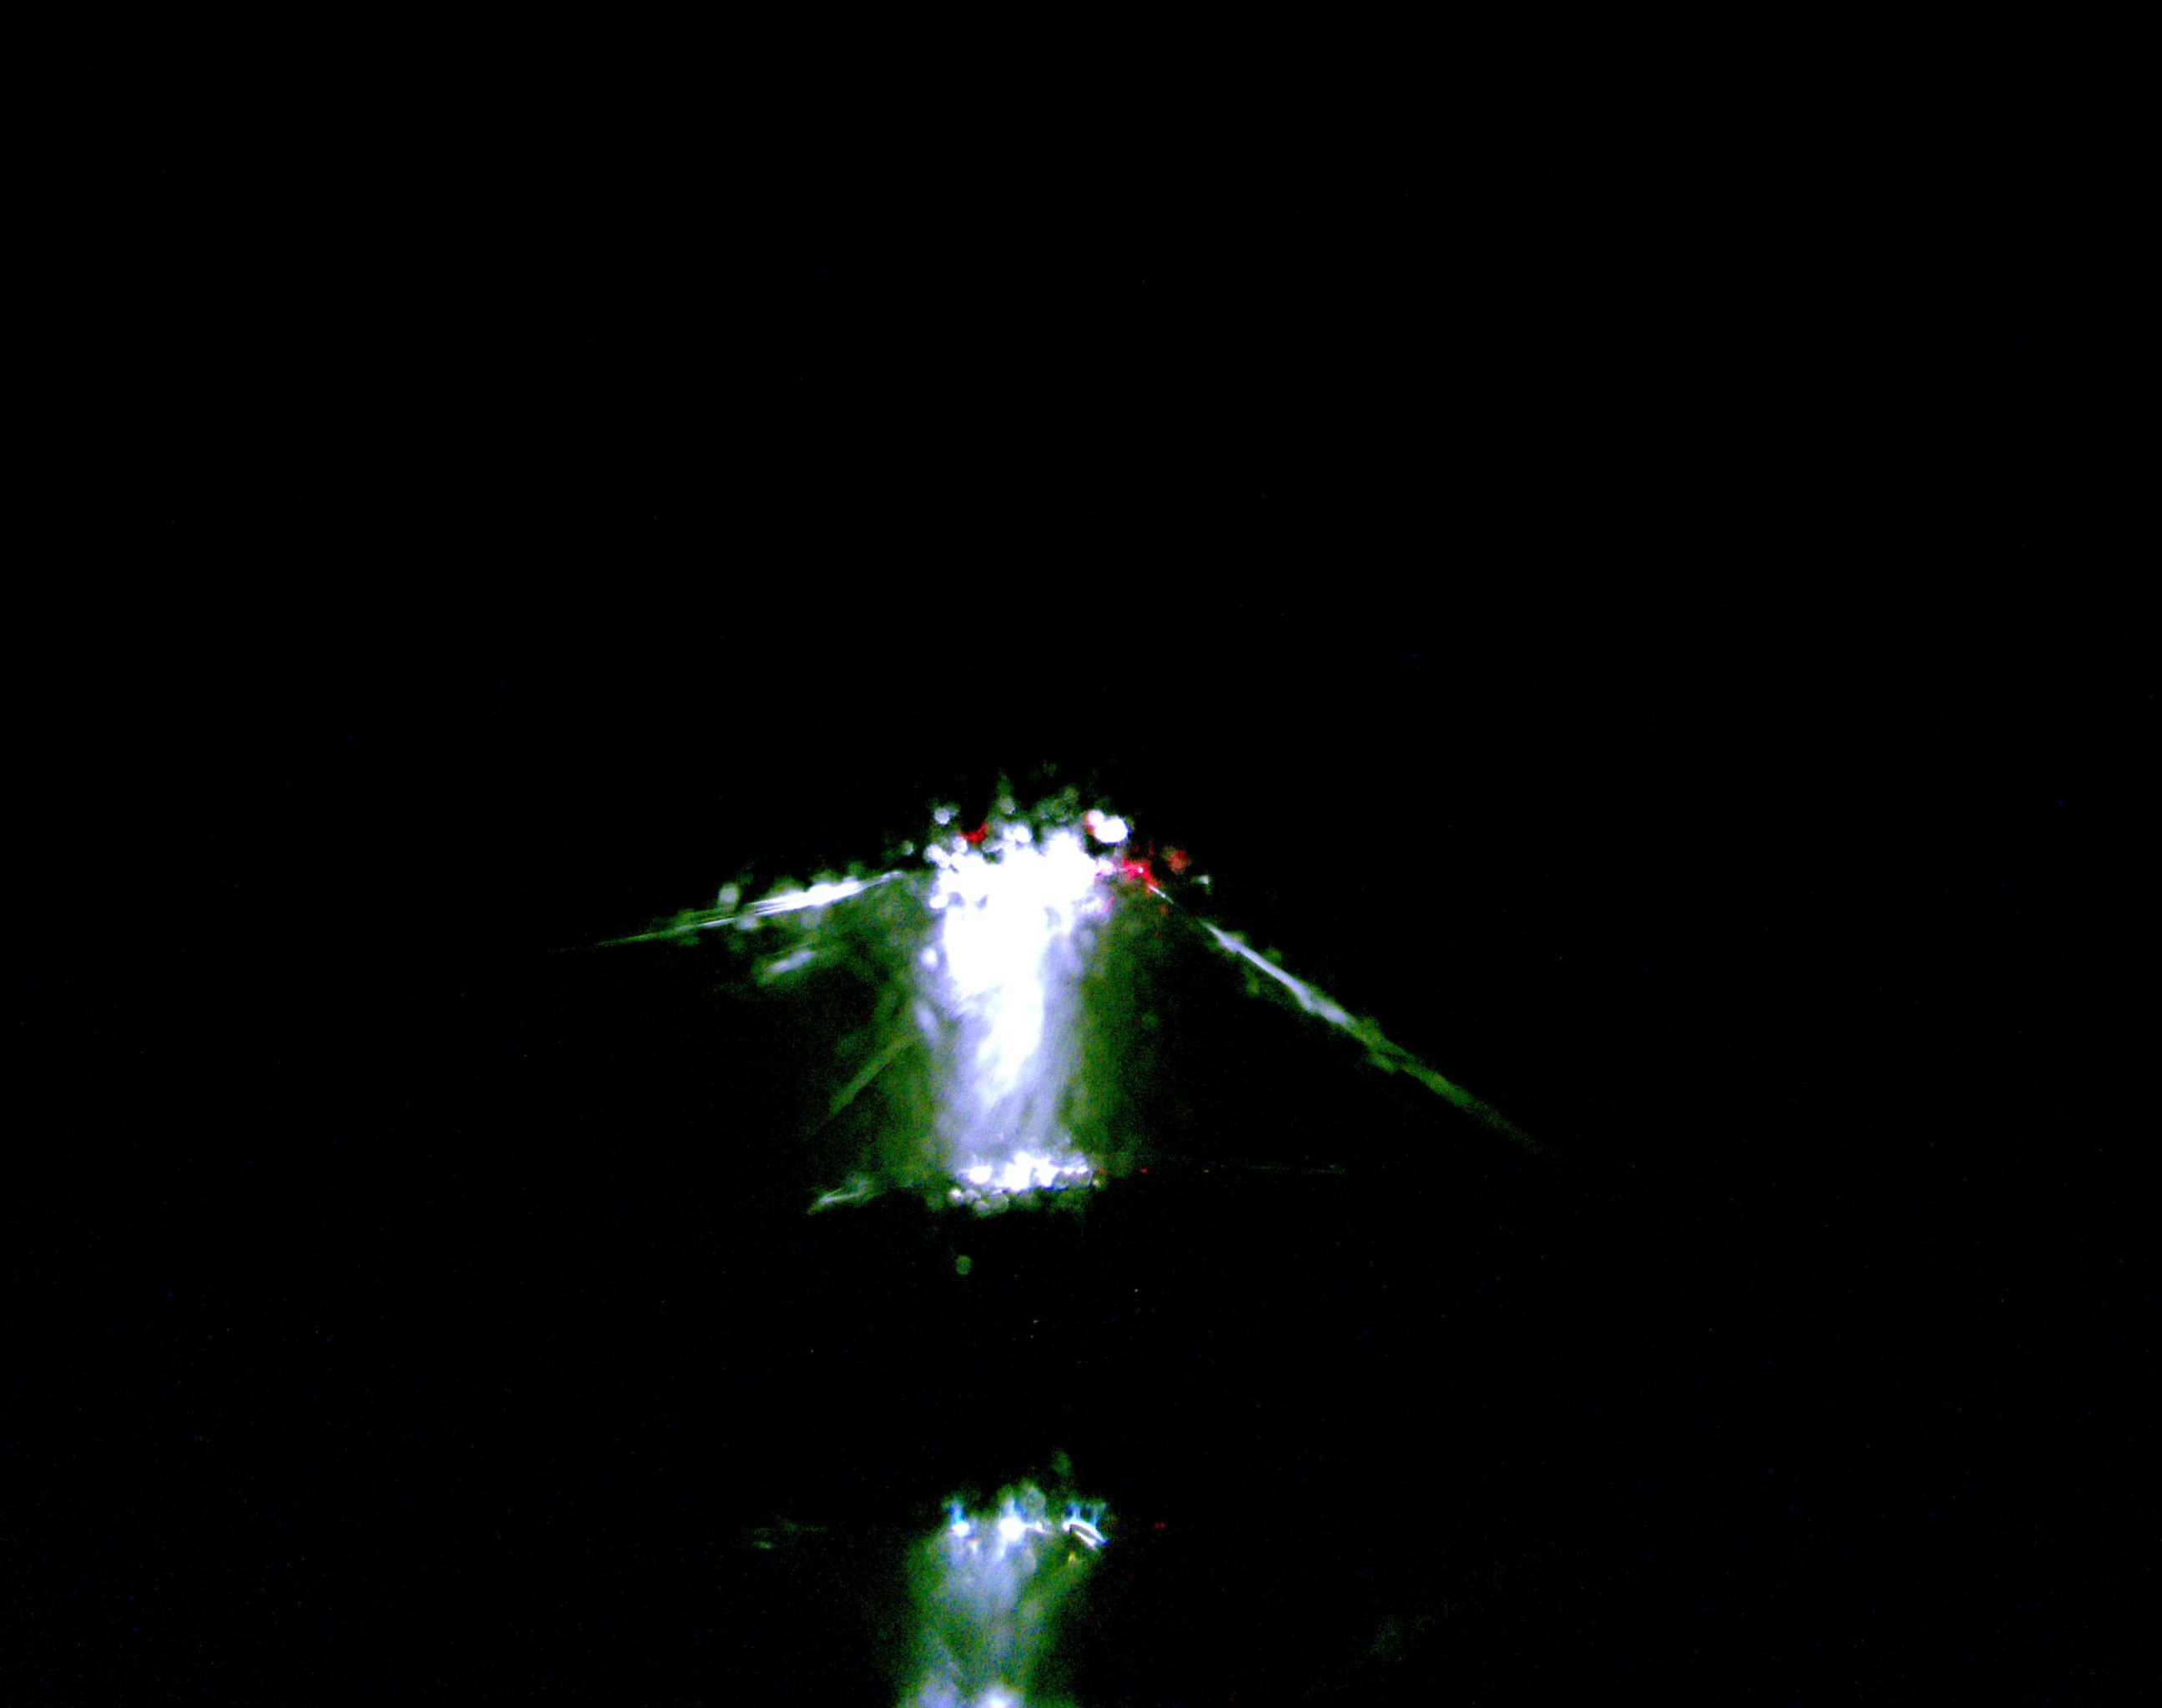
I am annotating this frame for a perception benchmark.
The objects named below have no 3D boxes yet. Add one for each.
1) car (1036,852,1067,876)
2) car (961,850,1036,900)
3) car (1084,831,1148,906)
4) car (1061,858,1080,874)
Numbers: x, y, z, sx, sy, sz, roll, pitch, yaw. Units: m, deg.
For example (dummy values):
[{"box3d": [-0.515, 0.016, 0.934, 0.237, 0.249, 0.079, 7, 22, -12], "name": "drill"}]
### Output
[{"box3d": [-1.874, 0.611, 52.388, 1.779, 1.510, 3.601, 0, 0, 1], "name": "car"}, {"box3d": [-2.730, 0.658, 27.865, 1.967, 1.516, 4.348, -1, 0, 1], "name": "car"}, {"box3d": [1.285, 0.453, 30.401, 2.173, 2.557, 4.510, 1, 2, 1], "name": "car"}, {"box3d": [-1.145, 1.294, 90.113, 1.852, 1.637, 4.145, -1, 0, 2], "name": "car"}]
